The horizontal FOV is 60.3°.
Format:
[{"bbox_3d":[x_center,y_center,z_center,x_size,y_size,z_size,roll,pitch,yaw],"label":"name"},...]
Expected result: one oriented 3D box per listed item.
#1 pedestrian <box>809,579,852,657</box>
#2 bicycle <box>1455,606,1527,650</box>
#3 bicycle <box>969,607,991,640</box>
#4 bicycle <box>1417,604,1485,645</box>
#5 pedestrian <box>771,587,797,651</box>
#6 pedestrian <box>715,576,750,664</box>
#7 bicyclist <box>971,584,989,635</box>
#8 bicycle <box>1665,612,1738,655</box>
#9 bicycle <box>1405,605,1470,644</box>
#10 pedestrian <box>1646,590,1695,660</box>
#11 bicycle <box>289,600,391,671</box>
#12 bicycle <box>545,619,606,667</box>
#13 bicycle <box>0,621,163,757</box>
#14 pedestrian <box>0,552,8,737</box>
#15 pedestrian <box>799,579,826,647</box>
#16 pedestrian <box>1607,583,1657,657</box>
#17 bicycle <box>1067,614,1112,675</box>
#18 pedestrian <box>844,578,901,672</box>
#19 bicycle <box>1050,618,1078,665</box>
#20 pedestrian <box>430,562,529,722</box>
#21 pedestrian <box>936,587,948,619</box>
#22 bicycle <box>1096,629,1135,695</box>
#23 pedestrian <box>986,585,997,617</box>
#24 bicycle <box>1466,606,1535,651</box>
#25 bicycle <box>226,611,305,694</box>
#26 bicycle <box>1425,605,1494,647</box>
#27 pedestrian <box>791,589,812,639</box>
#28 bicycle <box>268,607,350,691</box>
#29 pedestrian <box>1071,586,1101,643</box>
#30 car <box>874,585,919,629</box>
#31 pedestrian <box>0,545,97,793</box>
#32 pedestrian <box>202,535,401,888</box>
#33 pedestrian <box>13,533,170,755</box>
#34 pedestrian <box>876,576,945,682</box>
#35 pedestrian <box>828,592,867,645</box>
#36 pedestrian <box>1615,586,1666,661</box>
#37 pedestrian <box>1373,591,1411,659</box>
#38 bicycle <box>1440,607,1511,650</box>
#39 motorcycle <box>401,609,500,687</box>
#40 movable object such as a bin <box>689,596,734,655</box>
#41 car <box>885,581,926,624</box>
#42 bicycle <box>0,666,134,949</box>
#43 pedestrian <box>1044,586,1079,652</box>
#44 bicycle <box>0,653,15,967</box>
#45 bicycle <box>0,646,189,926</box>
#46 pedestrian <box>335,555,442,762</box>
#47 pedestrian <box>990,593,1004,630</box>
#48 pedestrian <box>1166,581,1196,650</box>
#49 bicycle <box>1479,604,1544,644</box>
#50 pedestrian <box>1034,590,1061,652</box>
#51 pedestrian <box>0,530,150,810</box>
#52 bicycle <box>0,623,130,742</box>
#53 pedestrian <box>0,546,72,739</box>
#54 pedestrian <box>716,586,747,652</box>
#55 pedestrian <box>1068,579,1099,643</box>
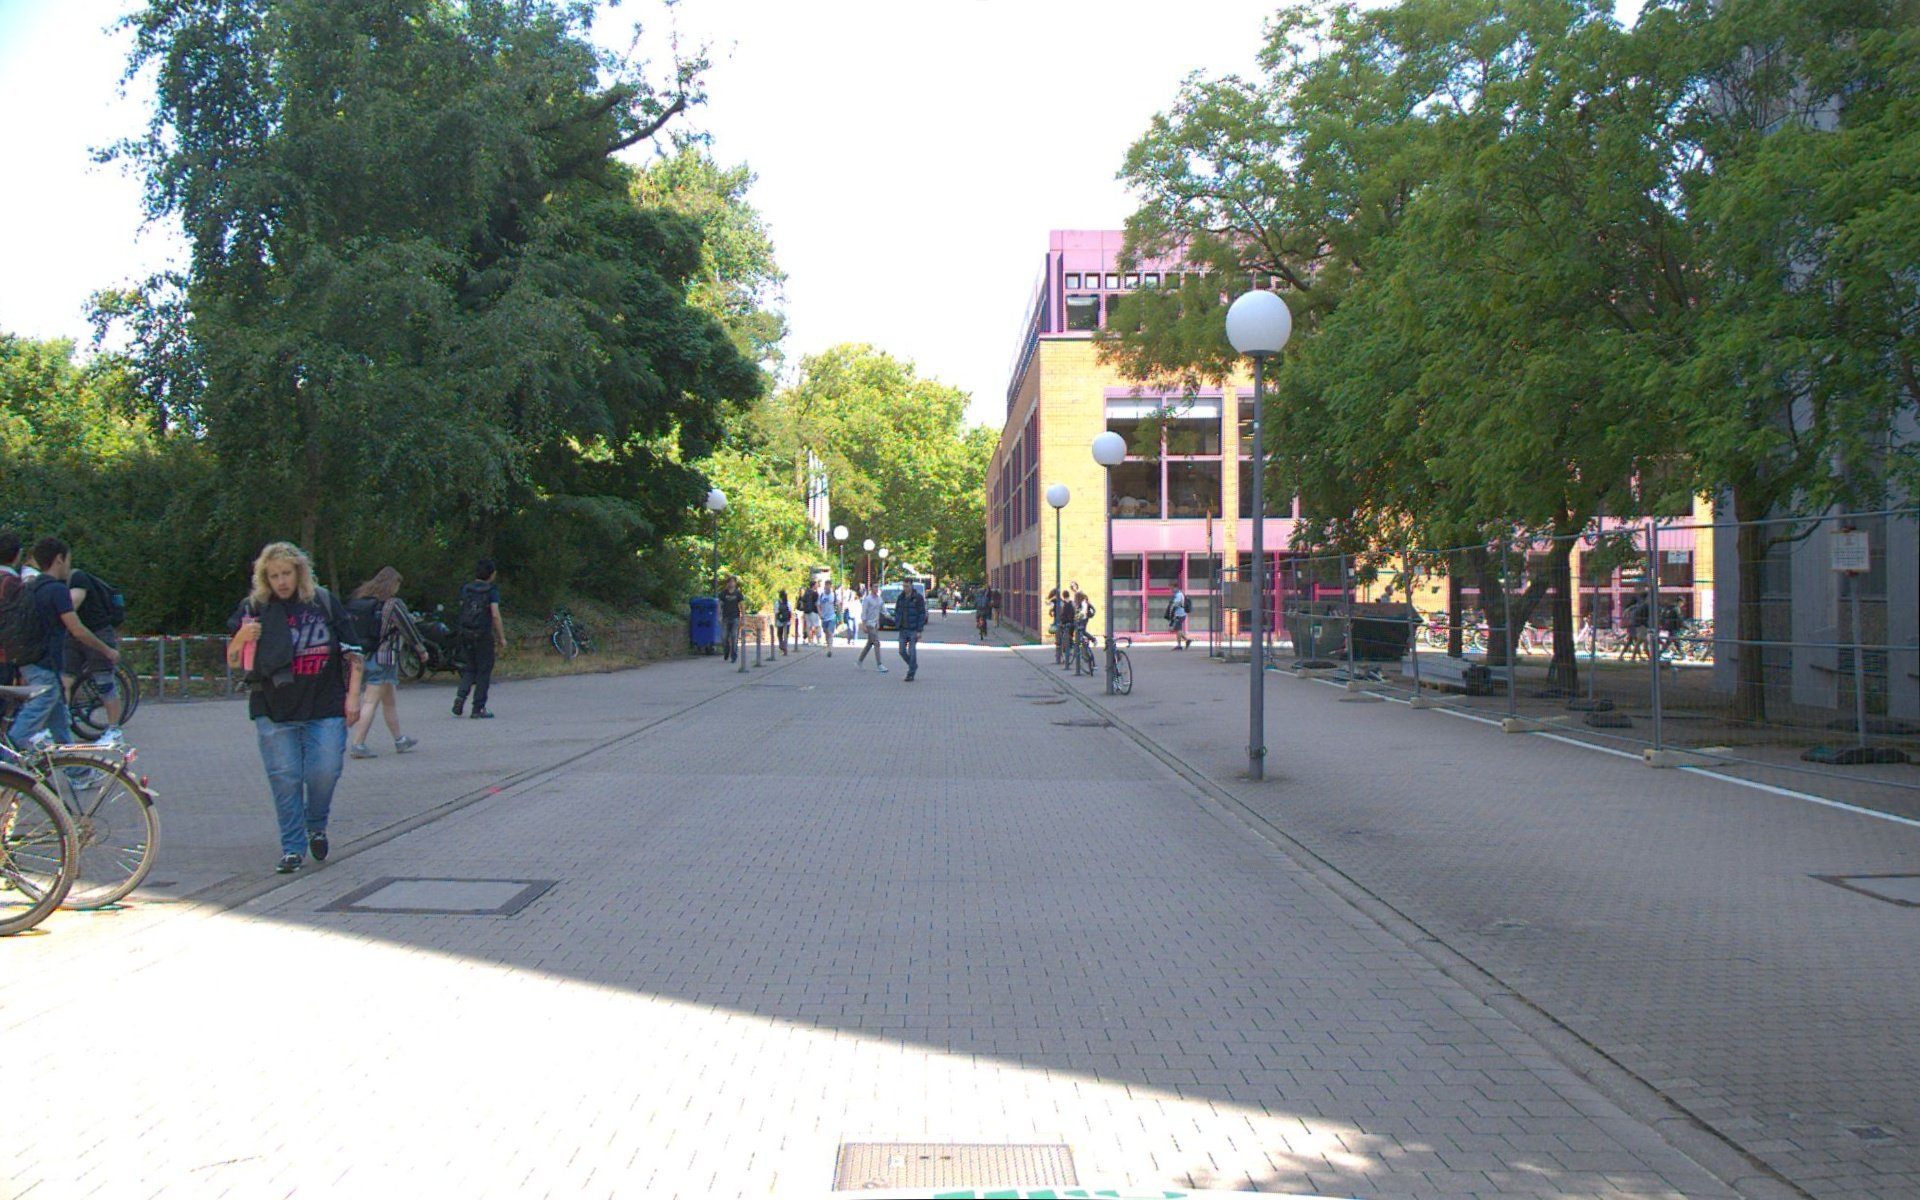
[{"bbox_3d":[-3.235,0.449,41.316,0.708,1.914,1.083,1,-1,15],"label":"pedestrian"},{"bbox_3d":[14.476,0.759,45.107,1.771,1.129,0.524,1,0,3],"label":"bicycle"},{"bbox_3d":[0.689,0.799,57.367,0.575,1.102,1.906,0,0,-4],"label":"bicycle"},{"bbox_3d":[14.125,0.706,47.588,1.773,1.129,0.523,1,0,-4],"label":"bicycle"},{"bbox_3d":[-4.606,0.491,43.314,0.559,1.639,0.915,1,-1,-13],"label":"pedestrian"},{"bbox_3d":[-5.018,0.431,36.506,0.669,1.905,1.120,1,-1,-5],"label":"pedestrian"},{"bbox_3d":[0.690,0.317,57.379,0.575,1.746,0.665,0,0,-4],"label":"bicyclist"},{"bbox_3d":[21.885,0.990,48.828,1.956,1.189,0.474,2,0,-2],"label":"bicycle"},{"bbox_3d":[14.270,0.732,49.441,1.773,1.129,0.523,1,0,-2],"label":"bicycle"},{"bbox_3d":[17.947,0.644,41.775,0.884,1.759,0.684,0,-2,-6],"label":"pedestrian"},{"bbox_3d":[-9.758,0.558,26.102,0.463,1.065,1.700,2,0,20],"label":"bicycle"},{"bbox_3d":[-7.631,0.862,32.878,0.412,0.926,1.741,0,-2,14],"label":"bicycle"},{"bbox_3d":[-8.046,0.762,14.731,0.463,1.129,1.844,1,0,23],"label":"bicycle"},{"bbox_3d":[-9.533,0.419,15.785,0.679,1.754,0.722,-1,1,-37],"label":"pedestrian"},{"bbox_3d":[-4.167,0.368,46.835,0.668,1.876,0.783,1,-1,-1],"label":"pedestrian"},{"bbox_3d":[16.300,0.492,40.142,0.884,1.759,0.684,0,-2,-6],"label":"pedestrian"},{"bbox_3d":[2.472,0.843,31.746,0.694,1.112,1.748,0,0,-1],"label":"bicycle"},{"bbox_3d":[-1.795,0.503,33.798,0.773,1.877,1.109,1,0,-25],"label":"pedestrian"},{"bbox_3d":[2.341,0.923,37.256,0.441,0.978,1.740,-2,0,-1],"label":"bicycle"},{"bbox_3d":[-5.466,0.466,18.846,0.669,1.754,0.904,1,0,16],"label":"pedestrian"},{"bbox_3d":[-0.980,0.182,89.163,0.574,1.702,0.817,-1,-1,1],"label":"pedestrian"},{"bbox_3d":[2.424,0.955,25.944,0.387,0.952,1.731,-2,0,-1],"label":"bicycle"},{"bbox_3d":[1.692,0.047,90.014,0.574,1.702,0.817,-1,-1,1],"label":"pedestrian"},{"bbox_3d":[14.364,0.751,43.982,1.659,1.129,0.474,1,0,3],"label":"bicycle"},{"bbox_3d":[-9.383,0.691,22.322,0.470,1.065,1.674,1,0,-41],"label":"bicycle"},{"bbox_3d":[14.061,0.737,46.618,1.771,1.129,0.524,1,0,3],"label":"bicycle"},{"bbox_3d":[-5.275,0.457,55.162,0.669,1.649,0.977,1,-1,-5],"label":"pedestrian"},{"bbox_3d":[-8.994,0.668,22.815,0.470,1.065,1.674,3,0,-41],"label":"bicycle"},{"bbox_3d":[3.652,0.421,47.823,0.765,1.649,0.684,1,-1,-3],"label":"pedestrian"},{"bbox_3d":[-2.618,0.267,69.312,1.754,1.792,4.480,0,0,-1],"label":"car"},{"bbox_3d":[-7.006,0.485,12.049,0.704,1.754,1.062,0,1,31],"label":"pedestrian"},{"bbox_3d":[-3.437,0.544,8.607,0.760,1.709,0.896,2,-1,-34],"label":"pedestrian"},{"bbox_3d":[-7.604,0.367,14.508,0.600,1.867,1.048,0,0,29],"label":"pedestrian"},{"bbox_3d":[-0.902,0.524,30.276,0.868,1.890,1.032,1,0,24],"label":"pedestrian"},{"bbox_3d":[-3.356,0.549,49.224,0.736,1.569,0.876,3,-2,-40],"label":"pedestrian"},{"bbox_3d":[16.230,0.565,39.460,0.884,1.759,0.684,0,-2,-6],"label":"pedestrian"},{"bbox_3d":[11.307,0.669,43.331,0.882,1.759,0.685,-1,-2,10],"label":"pedestrian"},{"bbox_3d":[14.264,0.778,45.765,1.773,1.129,0.523,1,0,-2],"label":"bicycle"},{"bbox_3d":[-7.780,0.712,25.207,1.990,1.065,0.471,2,1,42],"label":"motorcycle"},{"bbox_3d":[-6.048,0.613,40.302,0.694,1.359,1.240,3,0,9],"label":"movable object such as a bin"},{"bbox_3d":[-2.603,0.096,80.120,1.845,2.008,5.214,0,0,-1],"label":"car"},{"bbox_3d":[-4.369,0.835,6.792,1.662,1.110,0.473,1,0,-7],"label":"bicycle"},{"bbox_3d":[2.586,0.486,42.215,0.834,1.680,0.588,1,-1,7],"label":"pedestrian"},{"bbox_3d":[-4.448,0.789,6.030,1.662,1.189,0.473,1,0,-7],"label":"bicycle"},{"bbox_3d":[-4.352,0.798,7.262,1.663,1.179,0.473,1,0,-10],"label":"bicycle"},{"bbox_3d":[-5.004,0.498,14.519,0.670,1.754,0.731,1,0,-3],"label":"pedestrian"},{"bbox_3d":[1.694,0.535,75.822,0.574,1.702,0.699,-1,-1,1],"label":"pedestrian"},{"bbox_3d":[5.933,0.425,44.417,0.750,1.826,0.588,-1,-1,7],"label":"pedestrian"},{"bbox_3d":[16.322,0.708,48.984,1.771,1.129,0.473,1,0,-7],"label":"bicycle"},{"bbox_3d":[2.426,0.578,45.786,0.682,1.702,0.588,-1,-1,7],"label":"pedestrian"},{"bbox_3d":[-6.321,0.456,11.598,0.672,1.867,0.938,0,1,33],"label":"pedestrian"},{"bbox_3d":[-8.689,0.746,15.133,0.532,1.065,1.898,-1,-2,40],"label":"bicycle"},{"bbox_3d":[-8.878,0.380,15.353,0.665,1.754,0.933,0,1,40],"label":"pedestrian"},{"bbox_3d":[-6.168,0.500,44.573,0.672,1.758,0.997,1,0,-17],"label":"pedestrian"},{"bbox_3d":[3.613,0.324,48.575,0.809,1.876,0.684,1,-1,-3],"label":"pedestrian"}]
